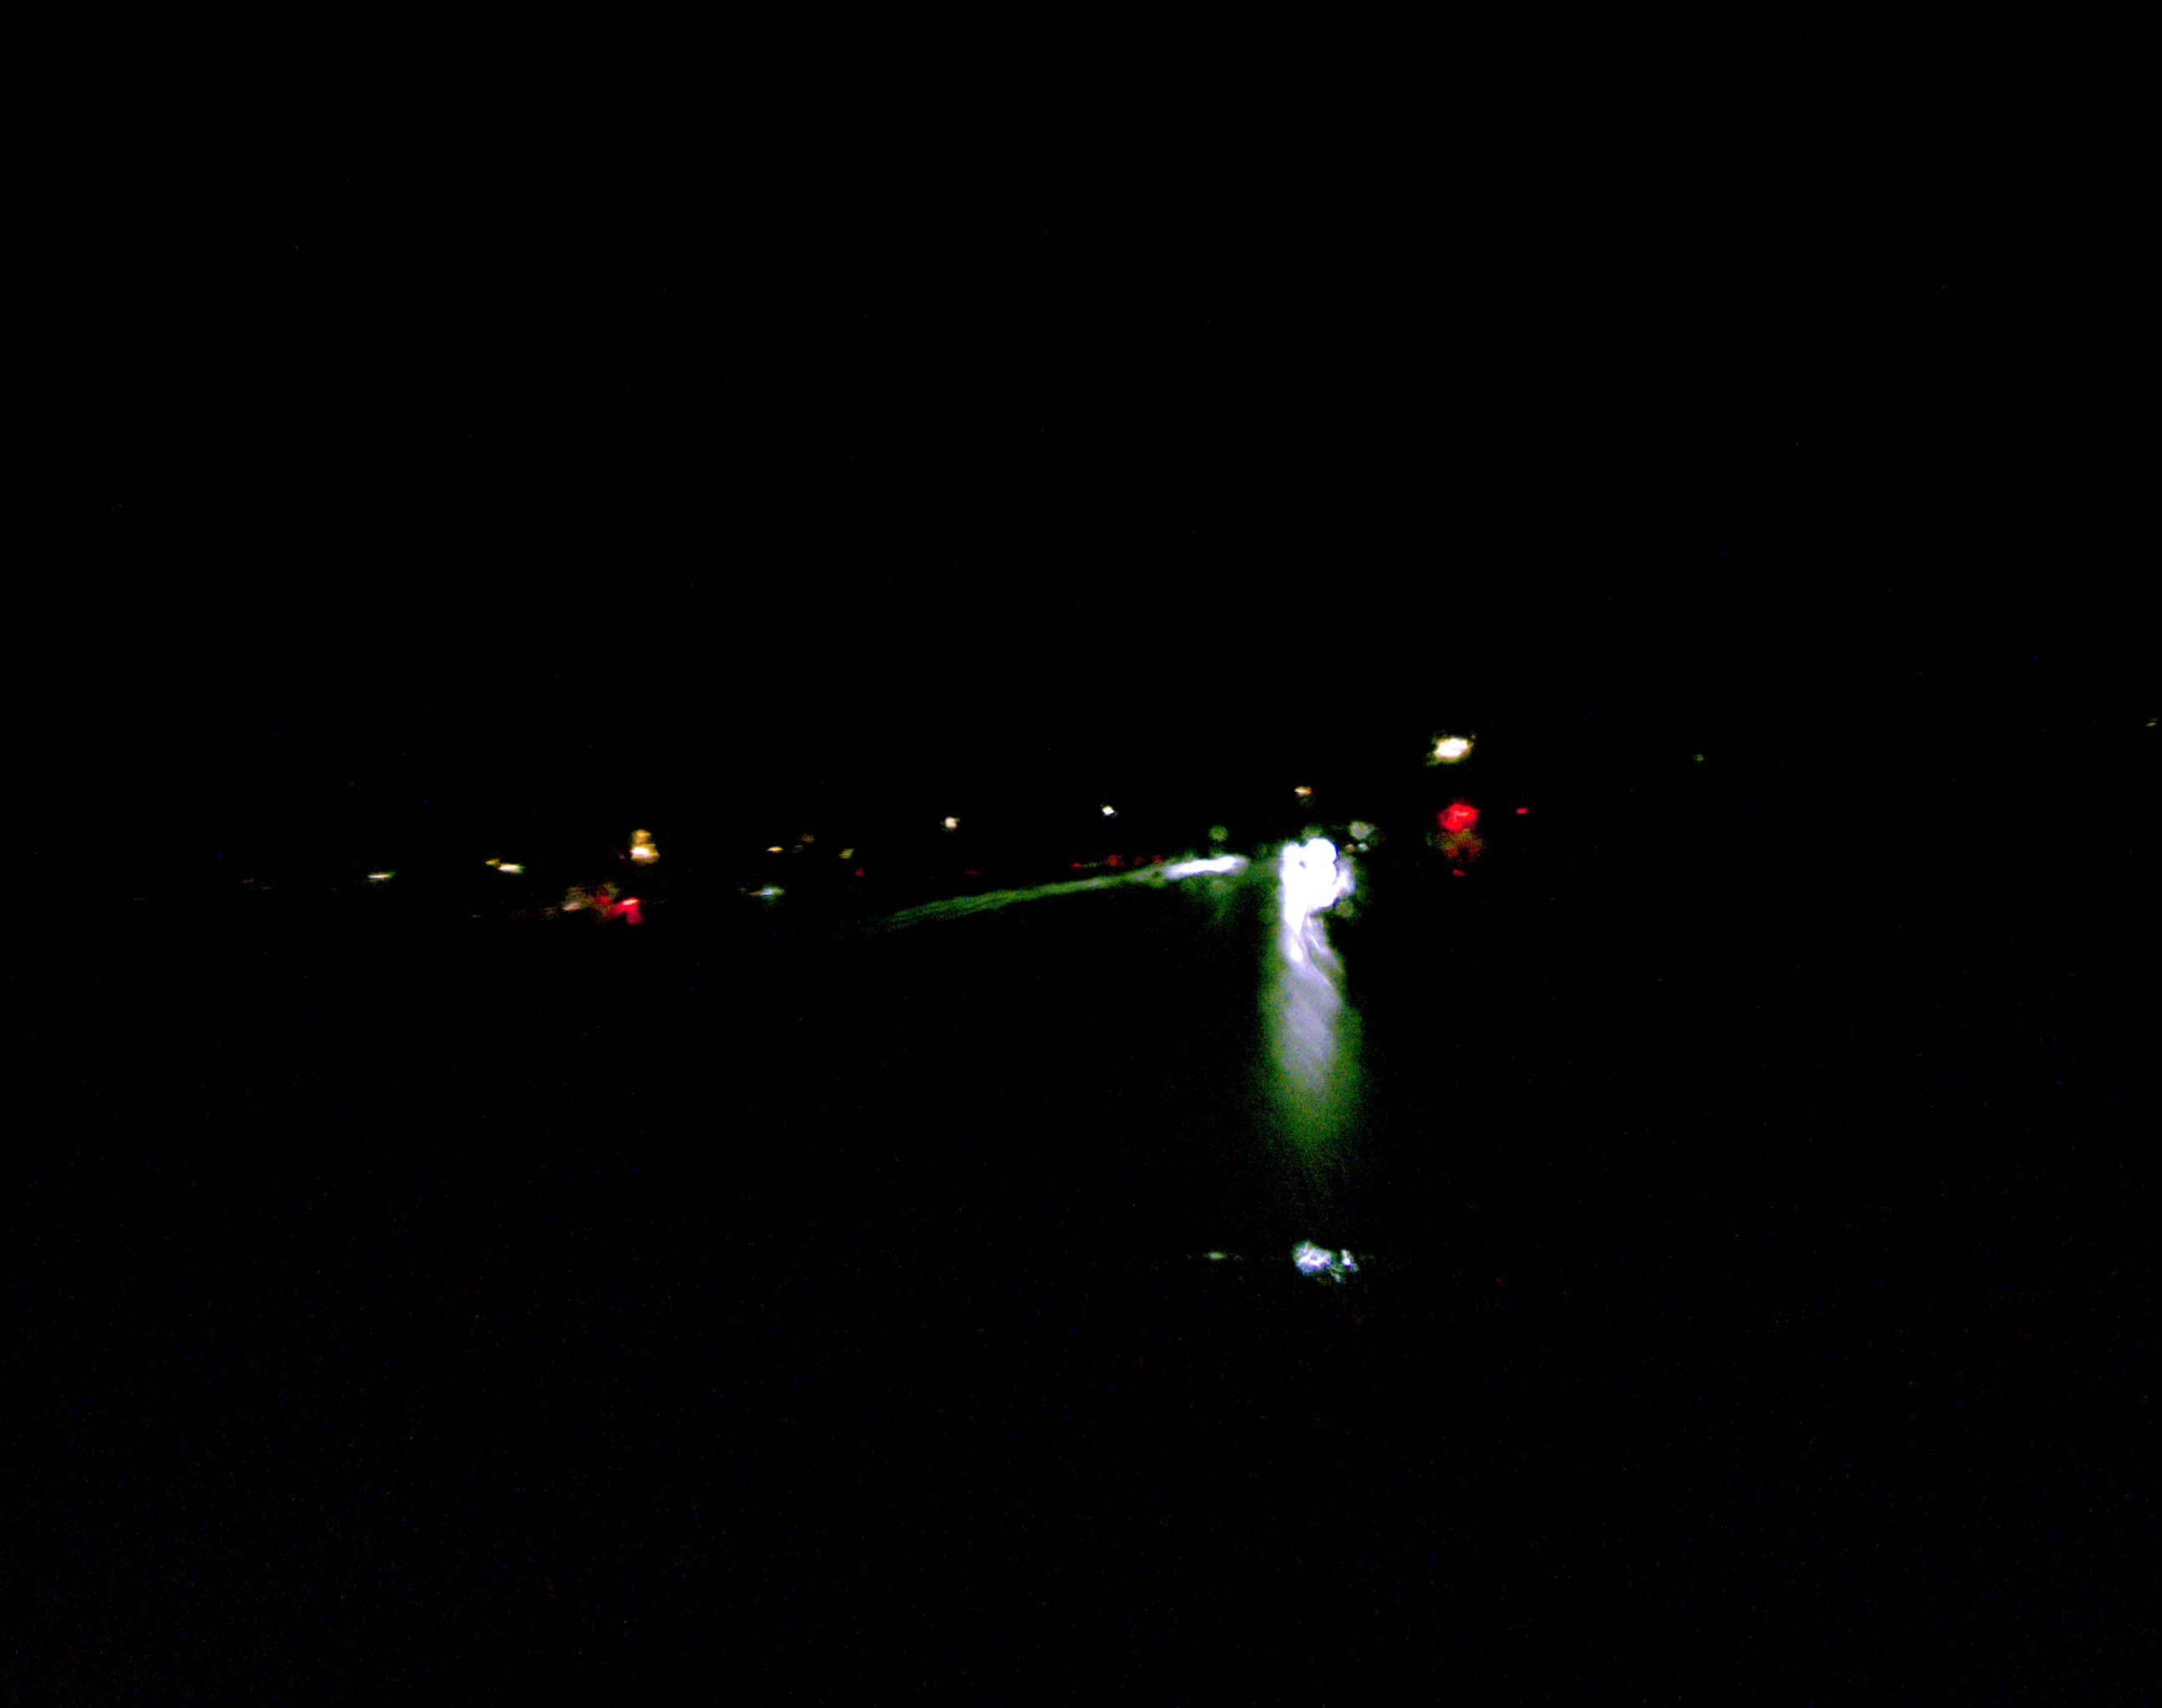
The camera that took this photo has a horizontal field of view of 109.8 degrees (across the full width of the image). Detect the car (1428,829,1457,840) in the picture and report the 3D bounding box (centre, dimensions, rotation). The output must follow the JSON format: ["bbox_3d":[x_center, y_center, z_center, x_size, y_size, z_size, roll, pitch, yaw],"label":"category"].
[{"bbox_3d":[62.274,-3.328,130.957,3.995,1.432,1.720,-5,-2,7],"label":"car"}]

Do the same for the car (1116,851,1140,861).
[{"bbox_3d":[8.158,0.395,132.591,3.995,1.432,1.719,-4,-1,5],"label":"car"}]

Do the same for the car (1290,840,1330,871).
[{"bbox_3d":[14.534,0.050,48.037,1.996,1.737,4.106,-4,0,21],"label":"car"}]

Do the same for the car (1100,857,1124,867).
[{"bbox_3d":[5.529,1.486,135.389,3.995,1.432,1.719,-5,0,6],"label":"car"}]

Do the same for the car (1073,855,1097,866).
[{"bbox_3d":[0.663,1.162,133.255,3.995,1.432,1.720,-5,-2,7],"label":"car"}]
